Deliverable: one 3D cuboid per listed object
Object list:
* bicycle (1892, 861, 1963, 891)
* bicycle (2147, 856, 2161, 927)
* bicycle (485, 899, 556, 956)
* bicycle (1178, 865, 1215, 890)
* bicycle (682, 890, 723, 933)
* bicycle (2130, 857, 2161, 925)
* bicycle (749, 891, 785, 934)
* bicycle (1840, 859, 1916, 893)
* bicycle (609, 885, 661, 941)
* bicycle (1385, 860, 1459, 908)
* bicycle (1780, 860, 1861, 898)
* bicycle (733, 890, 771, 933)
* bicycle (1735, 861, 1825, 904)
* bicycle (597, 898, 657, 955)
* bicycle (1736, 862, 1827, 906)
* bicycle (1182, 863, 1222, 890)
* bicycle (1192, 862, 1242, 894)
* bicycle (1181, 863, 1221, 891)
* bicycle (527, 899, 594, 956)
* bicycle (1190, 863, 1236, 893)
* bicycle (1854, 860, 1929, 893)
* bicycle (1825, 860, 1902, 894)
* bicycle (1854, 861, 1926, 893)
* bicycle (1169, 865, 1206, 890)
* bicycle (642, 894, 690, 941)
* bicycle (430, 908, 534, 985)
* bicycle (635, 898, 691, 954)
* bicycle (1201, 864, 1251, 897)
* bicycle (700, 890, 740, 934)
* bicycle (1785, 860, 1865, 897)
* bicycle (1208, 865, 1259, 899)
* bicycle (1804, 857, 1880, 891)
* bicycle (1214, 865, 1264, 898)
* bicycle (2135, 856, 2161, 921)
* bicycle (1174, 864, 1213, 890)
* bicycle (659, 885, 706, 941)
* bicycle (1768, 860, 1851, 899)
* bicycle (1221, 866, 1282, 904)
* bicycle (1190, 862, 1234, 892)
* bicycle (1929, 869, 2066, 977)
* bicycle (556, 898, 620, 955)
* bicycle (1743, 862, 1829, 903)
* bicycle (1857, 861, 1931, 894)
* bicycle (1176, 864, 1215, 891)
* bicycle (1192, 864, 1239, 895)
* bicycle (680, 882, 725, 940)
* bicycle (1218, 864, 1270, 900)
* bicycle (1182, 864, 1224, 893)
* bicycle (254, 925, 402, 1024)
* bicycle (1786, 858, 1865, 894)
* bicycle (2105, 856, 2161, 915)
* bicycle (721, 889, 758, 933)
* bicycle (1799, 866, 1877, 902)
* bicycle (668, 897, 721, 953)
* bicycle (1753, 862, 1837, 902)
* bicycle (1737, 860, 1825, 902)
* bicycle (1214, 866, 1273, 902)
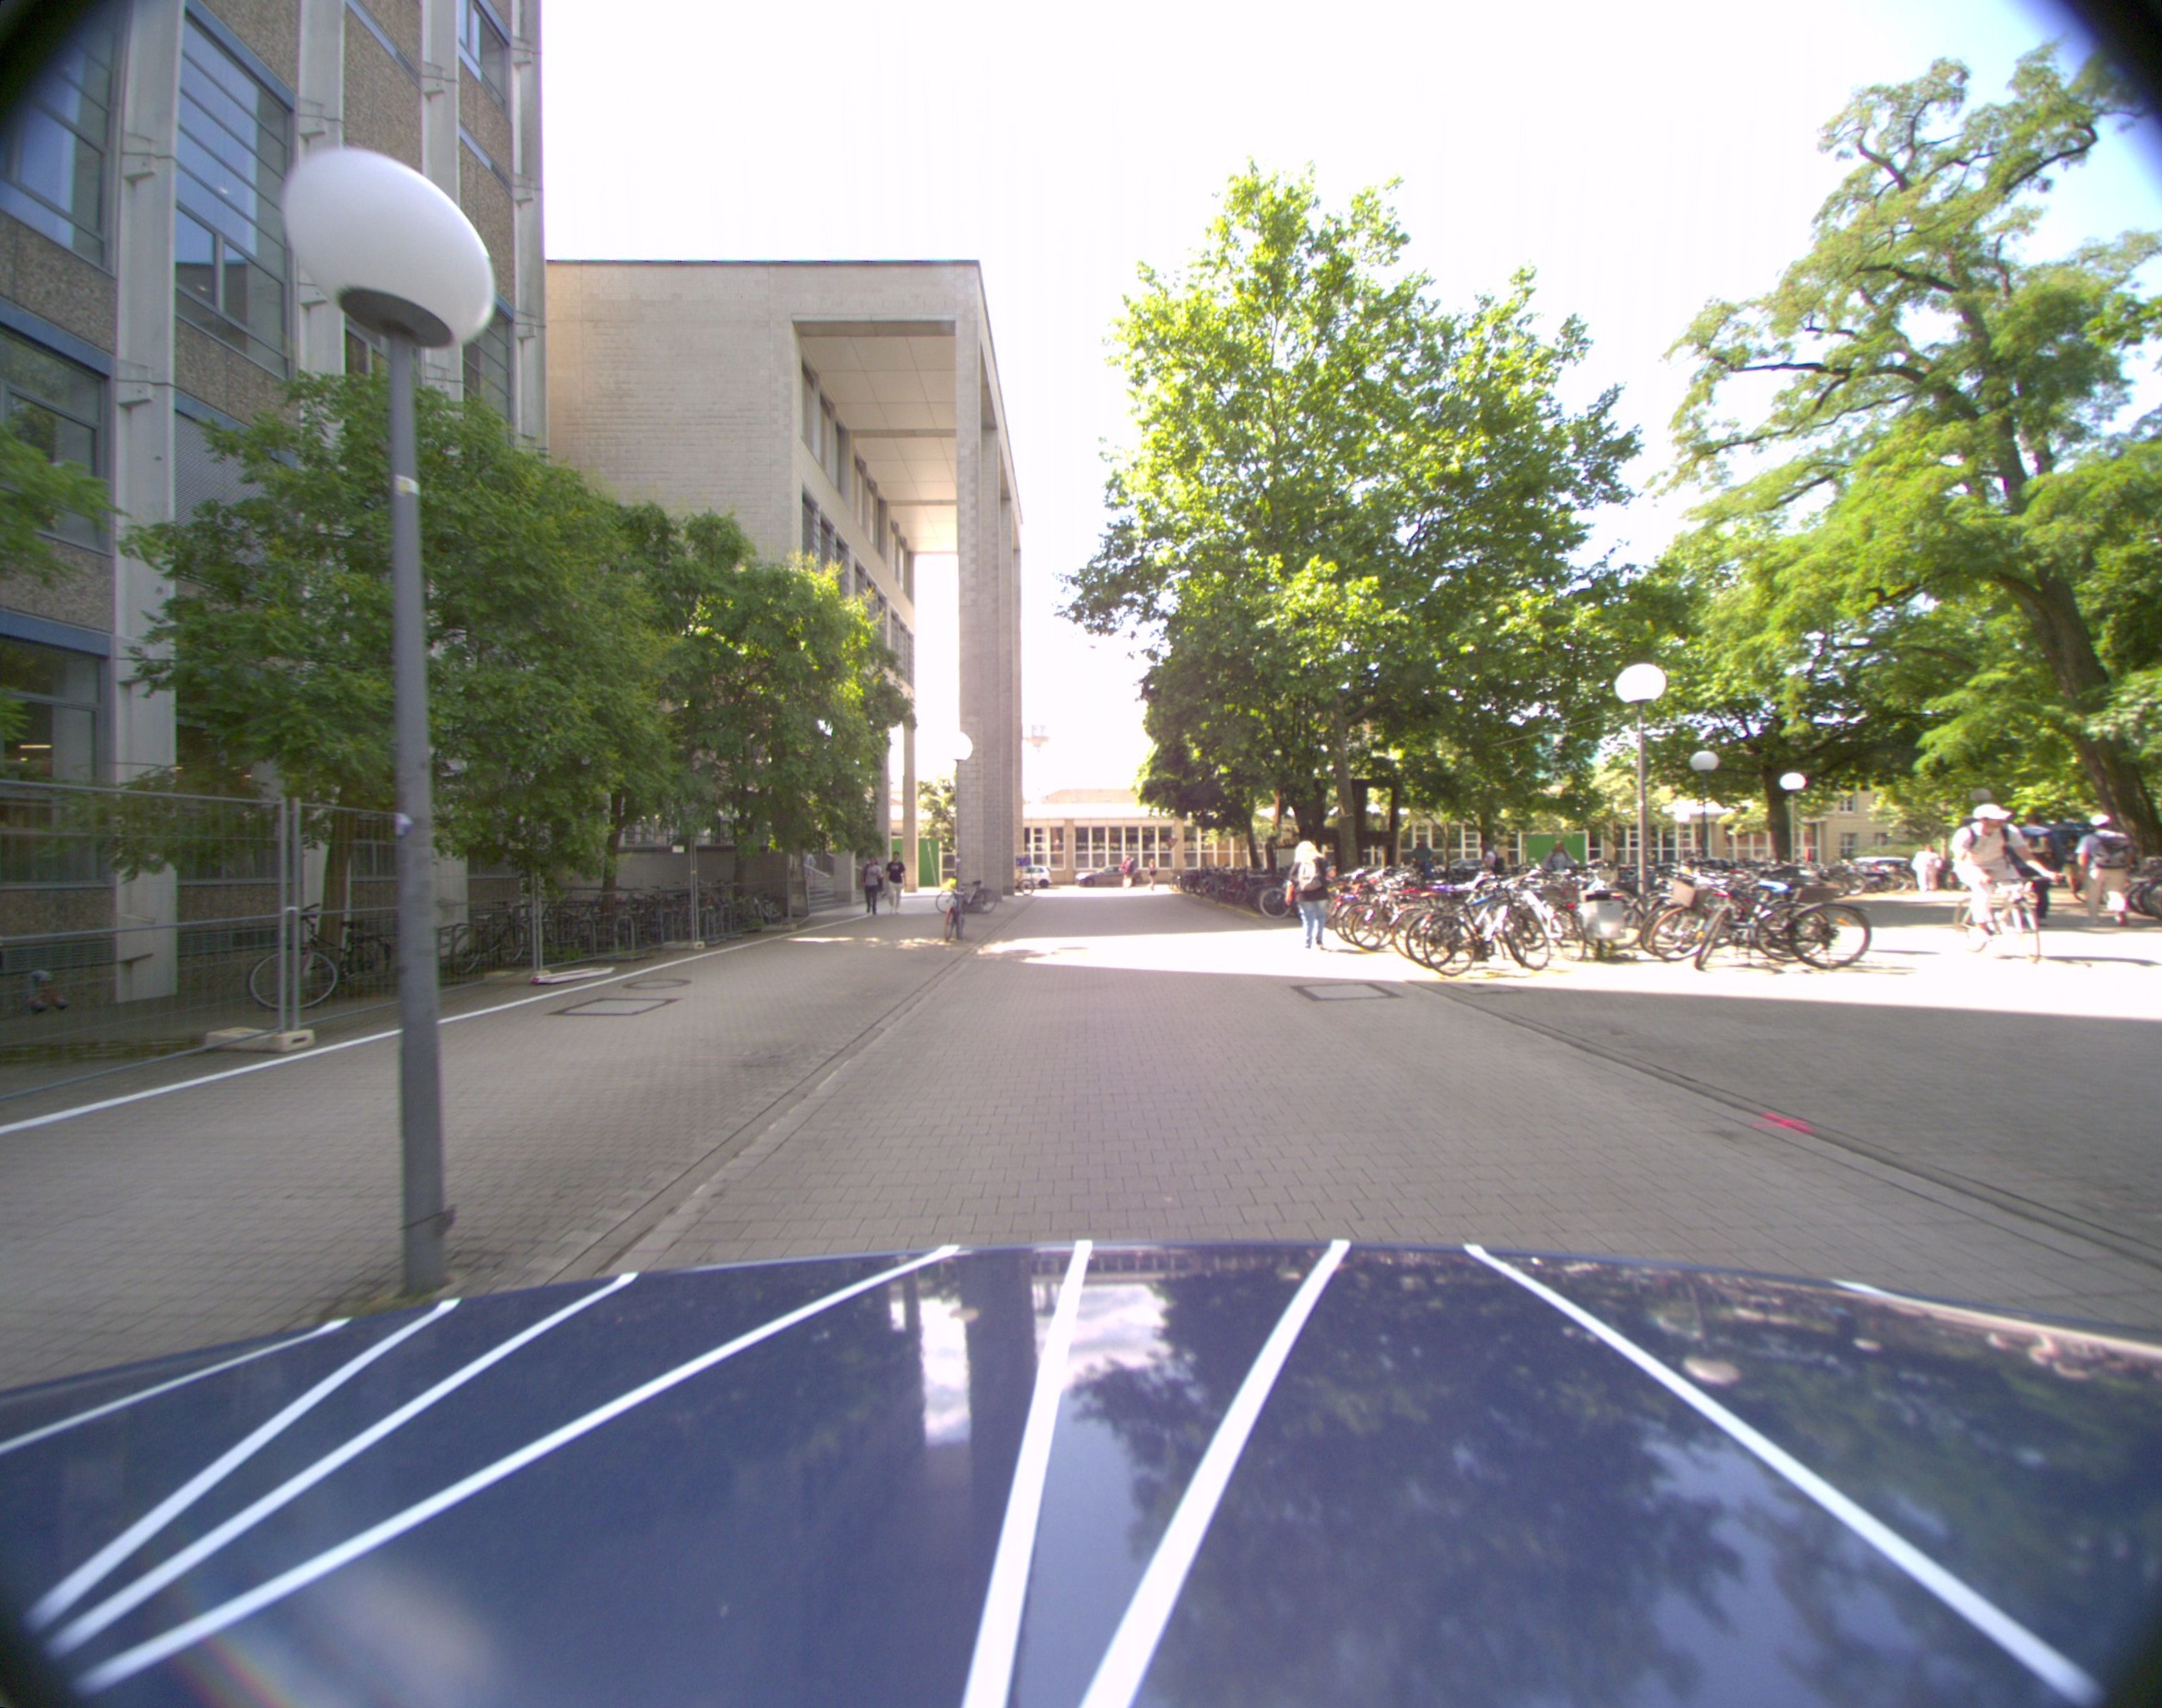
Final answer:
[{"bbox_3d":[31.774,0.807,28.547,0.475,1.077,1.696,-2,0,-29],"label":"bicycle"},{"bbox_3d":[17.718,0.579,11.500,1.773,1.104,0.518,-1,1,42],"label":"bicycle"},{"bbox_3d":[-10.192,1.321,13.856,0.291,0.900,1.448,0,0,-3],"label":"bicycle"},{"bbox_3d":[5.238,1.078,34.468,1.627,1.101,0.497,-1,-2,12],"label":"bicycle"},{"bbox_3d":[-8.781,1.318,17.646,0.291,0.900,1.448,0,0,-3],"label":"bicycle"},{"bbox_3d":[18.343,0.596,12.153,1.773,1.104,0.518,-1,1,42],"label":"bicycle"},{"bbox_3d":[-7.221,1.326,17.490,0.291,0.900,1.448,0,0,-3],"label":"bicycle"},{"bbox_3d":[26.964,0.730,25.727,0.475,1.077,1.696,-2,0,-29],"label":"bicycle"},{"bbox_3d":[-9.415,1.220,16.082,0.291,1.092,1.448,0,0,-3],"label":"bicycle"},{"bbox_3d":[8.958,0.777,20.023,0.577,1.193,1.695,-2,1,-39],"label":"bicycle"},{"bbox_3d":[22.100,0.733,22.742,0.475,1.077,1.695,-2,1,-39],"label":"bicycle"},{"bbox_3d":[-7.559,1.301,17.500,0.291,0.900,1.448,0,0,-3],"label":"bicycle"},{"bbox_3d":[18.619,0.740,20.273,0.475,1.077,1.695,-2,1,-39],"label":"bicycle"},{"bbox_3d":[-8.265,1.294,13.877,0.291,0.900,1.448,0,0,-3],"label":"bicycle"},{"bbox_3d":[18.321,0.770,19.911,0.475,1.077,1.695,-2,1,-39],"label":"bicycle"},{"bbox_3d":[5.122,0.971,32.286,1.628,1.101,0.506,-1,1,5],"label":"bicycle"},{"bbox_3d":[5.152,0.906,28.830,1.784,1.155,0.497,-1,1,-5],"label":"bicycle"},{"bbox_3d":[5.005,0.968,31.739,1.628,1.101,0.497,-1,1,5],"label":"bicycle"},{"bbox_3d":[-9.449,1.307,13.839,0.291,0.900,1.448,0,0,-3],"label":"bicycle"},{"bbox_3d":[5.106,0.917,29.465,1.629,1.101,0.645,-1,1,-5],"label":"bicycle"},{"bbox_3d":[27.722,0.743,26.019,0.475,1.077,1.696,-2,0,-29],"label":"bicycle"},{"bbox_3d":[25.861,0.746,25.146,0.475,1.077,1.696,-2,0,-29],"label":"bicycle"},{"bbox_3d":[28.864,0.808,27.127,0.475,1.077,1.696,-2,0,-29],"label":"bicycle"},{"bbox_3d":[4.752,1.045,33.992,1.628,1.101,0.497,-1,1,5],"label":"bicycle"},{"bbox_3d":[-8.769,1.318,16.083,0.291,0.882,1.448,0,0,-3],"label":"bicycle"},{"bbox_3d":[-8.568,1.285,10.949,0.291,0.900,1.804,-1,0,-8],"label":"bicycle"},{"bbox_3d":[-7.664,1.293,13.967,0.291,0.900,1.448,0,0,-3],"label":"bicycle"},{"bbox_3d":[5.227,0.952,27.374,1.724,1.101,0.720,-1,1,11],"label":"bicycle"},{"bbox_3d":[-8.372,1.330,17.654,0.291,0.900,1.448,0,0,-3],"label":"bicycle"},{"bbox_3d":[22.632,0.730,23.150,0.475,1.077,1.695,-2,1,-39],"label":"bicycle"},{"bbox_3d":[5.094,0.945,25.334,1.627,1.101,0.497,-1,1,14],"label":"bicycle"},{"bbox_3d":[24.861,0.636,24.854,0.475,1.077,1.696,-2,0,-29],"label":"bicycle"},{"bbox_3d":[5.372,0.938,25.870,1.627,1.101,0.563,-1,1,14],"label":"bicycle"},{"bbox_3d":[19.397,0.590,12.850,1.773,1.104,0.518,-1,1,42],"label":"bicycle"},{"bbox_3d":[4.950,1.005,33.420,1.628,1.101,0.497,-1,1,5],"label":"bicycle"},{"bbox_3d":[-8.419,1.224,16.090,0.291,1.088,1.448,0,0,-3],"label":"bicycle"},{"bbox_3d":[21.254,0.736,22.195,0.475,1.077,1.695,-2,1,-39],"label":"bicycle"},{"bbox_3d":[5.187,0.936,23.197,1.739,1.101,0.497,-1,1,0],"label":"bicycle"},{"bbox_3d":[5.210,0.899,30.233,1.628,1.144,0.497,-1,1,0],"label":"bicycle"},{"bbox_3d":[10.576,0.746,8.836,0.602,1.077,1.703,-1,0,36],"label":"bicycle"},{"bbox_3d":[-8.941,1.300,13.836,0.291,0.900,1.448,0,0,-3],"label":"bicycle"},{"bbox_3d":[19.397,0.760,20.938,0.475,1.077,1.695,-2,1,-39],"label":"bicycle"},{"bbox_3d":[28.180,0.792,26.362,0.475,1.077,1.696,-2,0,-29],"label":"bicycle"},{"bbox_3d":[4.950,1.000,32.857,1.628,1.101,0.629,-1,1,4],"label":"bicycle"},{"bbox_3d":[5.024,0.939,28.335,1.629,1.101,0.497,-1,1,-5],"label":"bicycle"},{"bbox_3d":[-8.027,1.190,16.141,0.291,1.121,1.448,0,0,-3],"label":"bicycle"},{"bbox_3d":[5.298,0.906,24.722,1.627,1.137,0.497,-1,1,14],"label":"bicycle"},{"bbox_3d":[4.962,0.993,31.019,1.628,1.101,0.691,-1,1,5],"label":"bicycle"},{"bbox_3d":[-8.655,1.348,8.813,0.291,0.900,1.618,-1,0,-8],"label":"bicycle"},{"bbox_3d":[23.107,0.673,23.605,0.475,1.077,1.695,-2,1,-39],"label":"bicycle"},{"bbox_3d":[20.596,0.585,14.132,1.773,1.104,0.518,-1,1,42],"label":"bicycle"},{"bbox_3d":[-7.910,1.302,17.637,0.291,0.900,1.448,0,0,-3],"label":"bicycle"},{"bbox_3d":[23.961,0.924,24.073,0.475,1.077,1.695,-2,0,-33],"label":"bicycle"},{"bbox_3d":[-7.127,1.294,14.060,0.291,0.900,1.448,0,0,-3],"label":"bicycle"},{"bbox_3d":[20.366,0.788,21.705,0.475,1.077,1.695,-2,1,-39],"label":"bicycle"},{"bbox_3d":[19.001,0.717,20.648,0.475,1.077,1.695,-2,1,-39],"label":"bicycle"},{"bbox_3d":[5.156,0.953,24.070,1.737,1.101,0.575,-1,1,19],"label":"bicycle"}]
